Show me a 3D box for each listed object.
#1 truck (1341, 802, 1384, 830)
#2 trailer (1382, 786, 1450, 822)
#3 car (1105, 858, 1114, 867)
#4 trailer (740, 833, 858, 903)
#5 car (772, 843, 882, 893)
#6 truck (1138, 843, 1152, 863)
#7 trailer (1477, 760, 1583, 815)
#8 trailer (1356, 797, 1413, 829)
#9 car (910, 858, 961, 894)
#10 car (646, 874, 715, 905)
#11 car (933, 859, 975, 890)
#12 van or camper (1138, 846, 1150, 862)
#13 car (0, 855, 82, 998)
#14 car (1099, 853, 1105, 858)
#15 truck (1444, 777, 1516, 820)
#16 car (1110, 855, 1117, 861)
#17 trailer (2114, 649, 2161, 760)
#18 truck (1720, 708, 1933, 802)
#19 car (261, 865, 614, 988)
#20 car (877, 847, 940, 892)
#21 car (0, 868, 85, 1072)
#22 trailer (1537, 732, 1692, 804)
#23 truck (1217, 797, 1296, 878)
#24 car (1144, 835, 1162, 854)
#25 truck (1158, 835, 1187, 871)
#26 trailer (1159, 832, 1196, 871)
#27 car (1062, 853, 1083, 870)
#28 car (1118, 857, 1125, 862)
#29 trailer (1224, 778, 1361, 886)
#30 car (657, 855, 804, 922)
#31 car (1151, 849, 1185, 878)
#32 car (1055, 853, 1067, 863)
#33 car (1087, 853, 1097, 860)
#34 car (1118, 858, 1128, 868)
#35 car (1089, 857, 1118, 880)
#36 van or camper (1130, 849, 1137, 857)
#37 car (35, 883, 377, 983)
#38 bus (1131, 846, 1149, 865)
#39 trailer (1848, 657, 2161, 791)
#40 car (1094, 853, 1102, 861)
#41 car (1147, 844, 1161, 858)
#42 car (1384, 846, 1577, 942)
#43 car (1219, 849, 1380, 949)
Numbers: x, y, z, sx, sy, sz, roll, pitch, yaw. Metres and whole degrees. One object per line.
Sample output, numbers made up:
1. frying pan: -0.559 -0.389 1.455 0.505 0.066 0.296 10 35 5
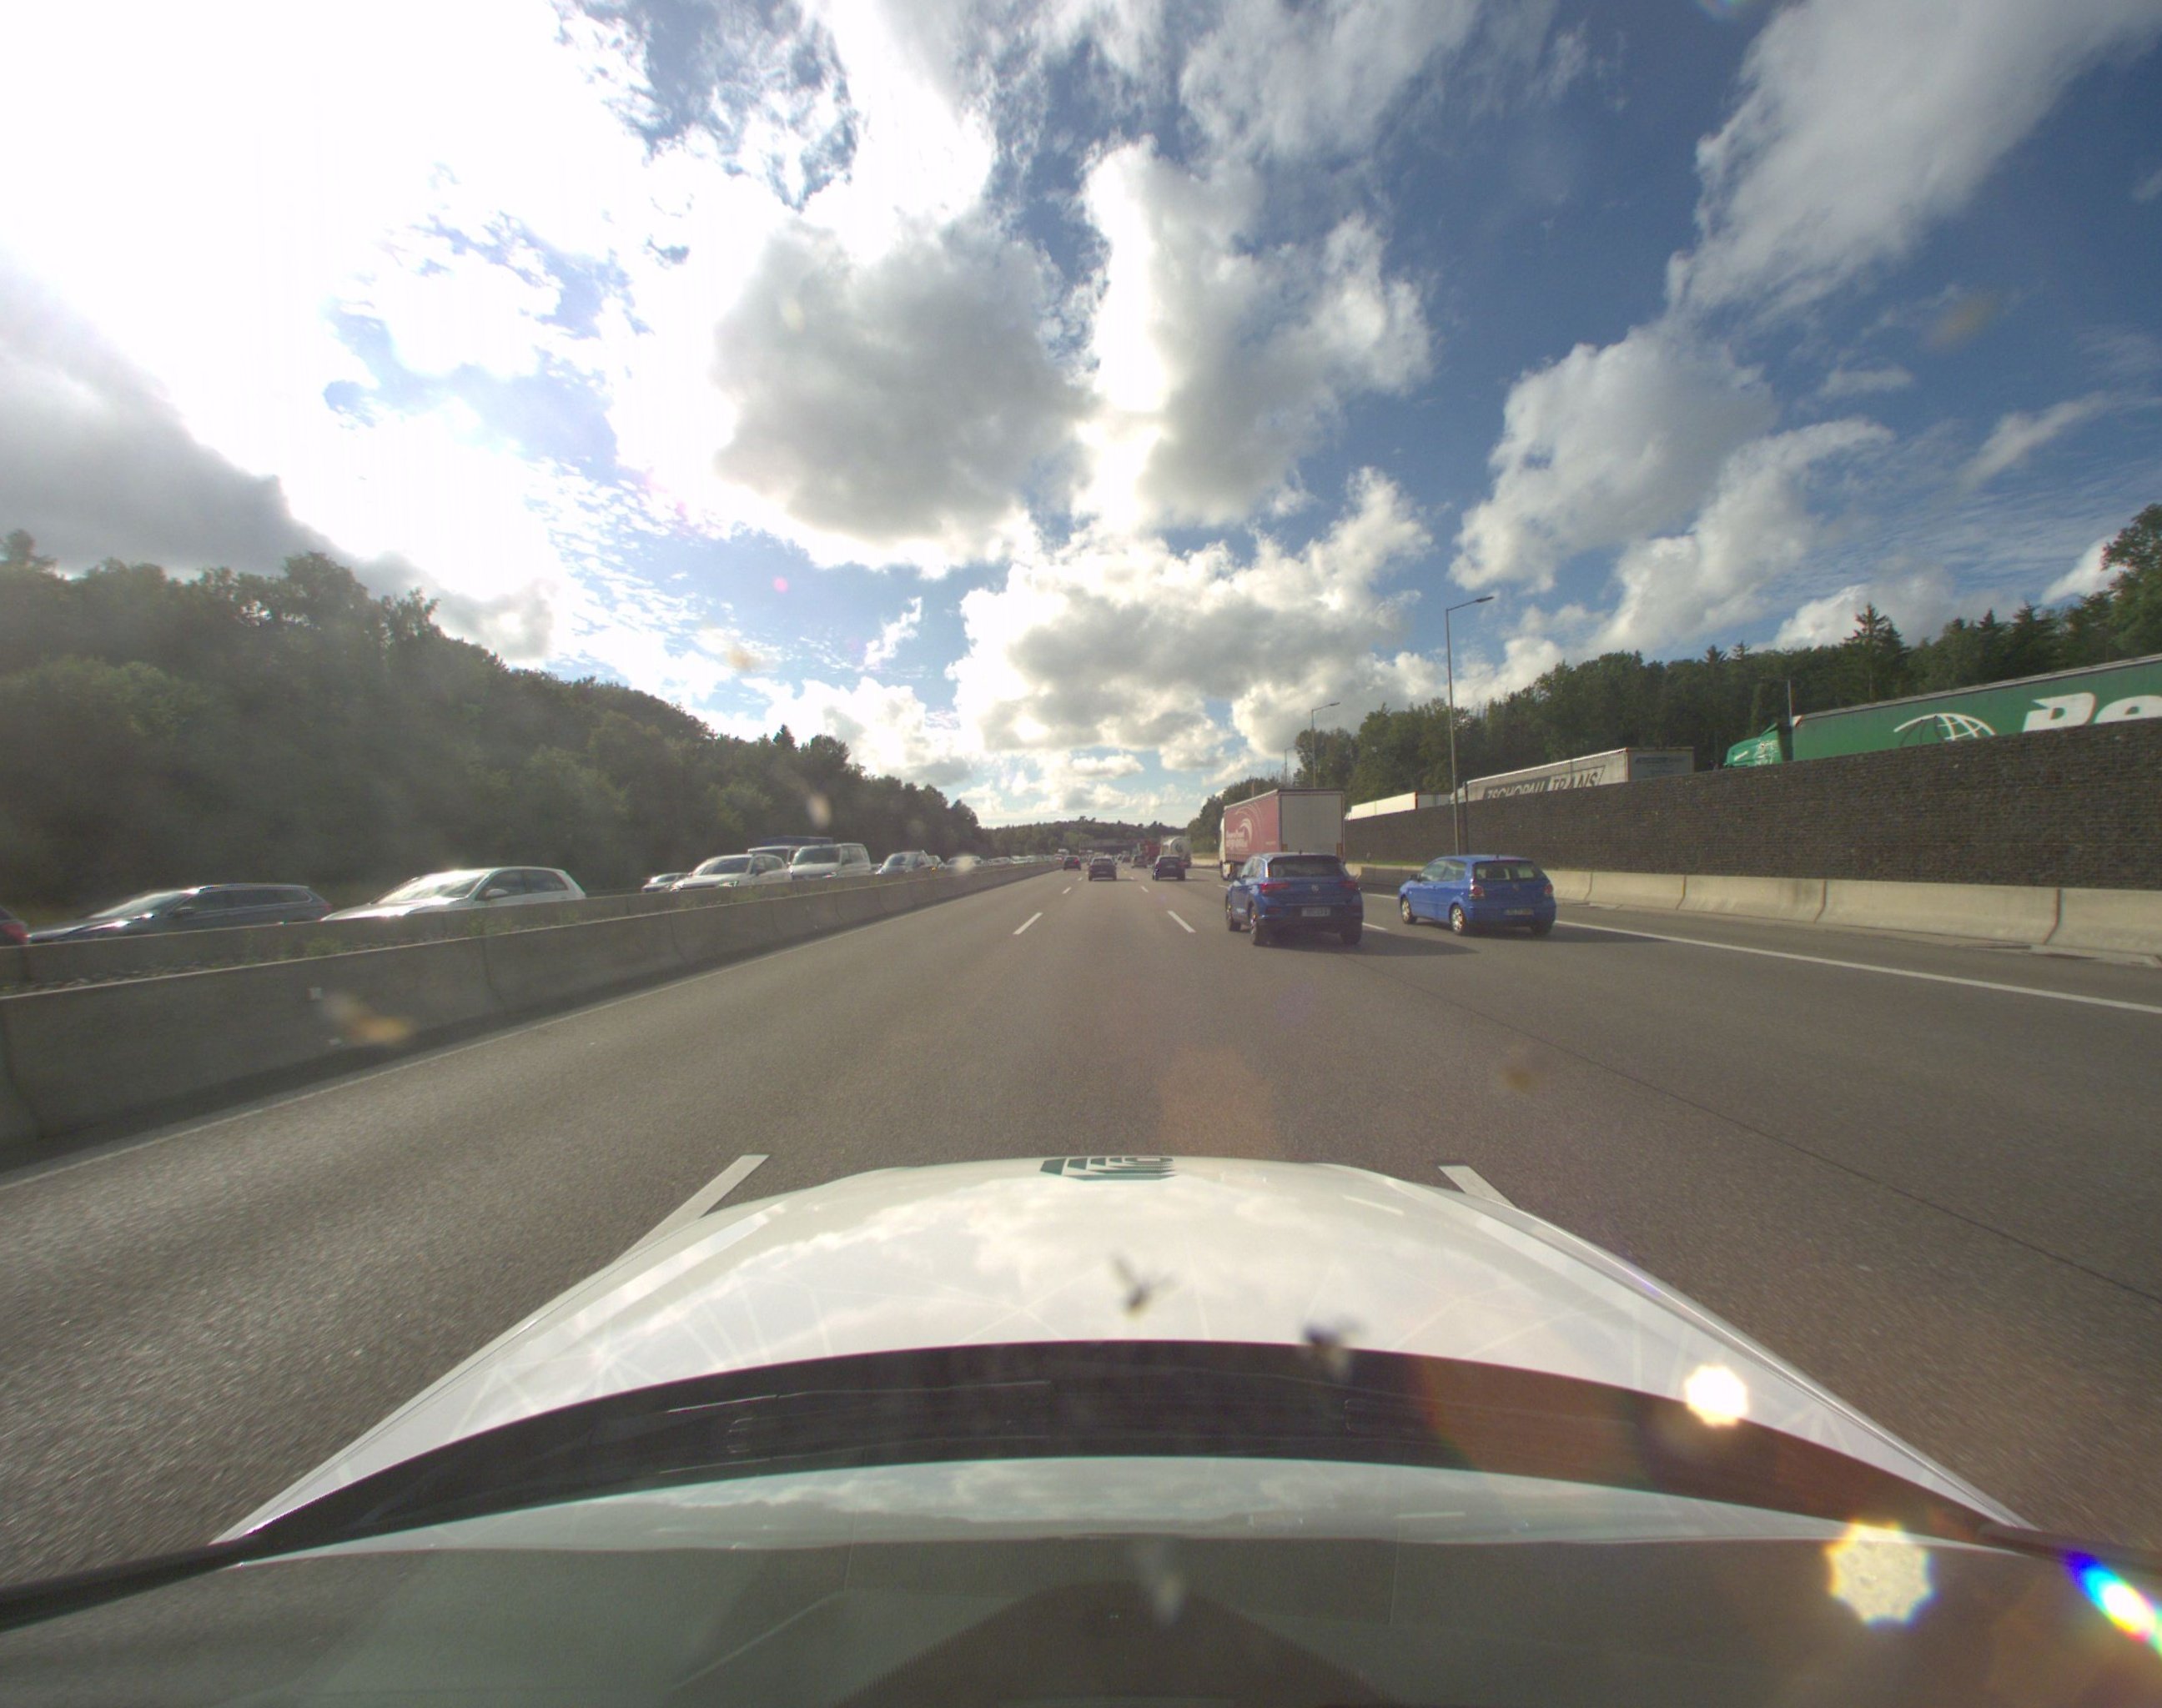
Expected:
1. truck: 23.100 -3.082 66.971 2.138 2.013 4.001 -2 0 2
2. trailer: 22.765 -3.330 55.642 2.122 2.013 6.324 -2 0 2
3. car: 6.720 2.064 193.698 1.986 2.014 4.001 -2 -2 2
4. trailer: -12.544 0.607 37.112 2.271 2.786 8.542 -1 -1 1
5. car: -8.876 0.452 29.054 1.985 1.572 5.333 1 0 3
6. truck: 12.429 -0.098 159.305 2.348 3.573 11.273 -1 -2 3
7. trailer: 22.065 -3.213 40.402 2.037 2.014 6.007 -1 -2 2
8. trailer: 22.938 -3.078 61.879 2.122 2.013 6.237 -2 0 2
9. car: -8.517 1.311 48.143 1.985 2.014 4.550 -1 -2 3
10. car: -22.962 2.013 46.852 1.802 1.572 4.075 0 0 3
11. car: -8.607 1.396 55.433 1.985 2.014 4.002 -1 -2 3
12. van or camper: 12.760 0.079 165.773 2.342 3.144 5.714 -1 -2 3
13. car: -13.023 0.805 7.570 1.985 1.572 4.360 0 0 3
14. car: 6.681 0.435 260.573 1.617 1.470 3.816 0 -1 2
15. truck: 22.172 -3.044 45.417 2.037 2.014 4.097 -1 -2 1
16. car: 8.629 0.985 216.510 1.669 1.592 3.630 -2 0 3
17. trailer: 21.495 -2.977 13.071 1.986 2.014 6.194 -1 -2 1
18. truck: 21.802 -2.802 24.161 2.037 2.014 4.783 -1 -2 3
19. car: -9.759 0.983 12.930 1.985 1.572 4.360 0 0 3
20. car: -8.320 0.786 39.701 1.986 2.014 4.677 -1 -2 1
21. car: -9.425 0.902 5.095 1.985 1.572 3.513 0 0 3
22. trailer: 21.877 -3.430 33.912 2.043 2.014 6.965 -1 -2 2
23. truck: 9.352 -0.755 44.164 3.069 4.064 6.071 -1 -2 2
24. car: 12.305 -1.577 140.085 2.855 2.992 5.152 -1 -2 3
25. truck: 11.211 -0.024 100.339 3.034 4.160 7.129 -1 -1 2
26. trailer: 11.012 -0.146 94.119 3.025 4.016 12.247 -1 -1 1
27. car: -0.895 0.776 89.275 1.986 1.776 4.002 -2 0 2
28. car: 12.972 1.669 259.733 1.986 1.618 4.001 -1 0 2
29. trailer: 9.142 -0.595 37.401 3.027 4.036 13.893 -1 -2 2
30. car: -8.974 0.809 21.278 1.758 1.572 4.360 0 0 3
31. car: 5.136 0.584 48.517 1.792 1.644 4.002 0 -1 2
32. car: -4.065 0.793 164.005 1.985 1.864 4.554 -1 -2 4
33. car: 2.570 0.601 192.516 2.146 1.776 4.002 0 -1 2
34. car: 8.678 1.865 167.070 1.986 2.014 4.001 0 -1 2
35. car: 1.415 0.922 50.785 1.727 1.365 4.002 0 -1 2
36. van or camper: 16.012 -0.319 248.223 2.076 2.493 4.226 -1 0 2
37. car: -16.995 1.448 16.235 1.985 1.572 4.360 0 0 3
38. bus: 6.975 0.200 95.943 1.986 2.014 4.001 -1 -2 2
39. trailer: 21.608 -2.799 19.010 1.986 2.014 5.775 -1 -2 1
40. car: 4.575 0.839 220.647 1.987 2.014 3.999 -1 0 -1
41. car: 11.629 -0.480 129.818 1.986 2.014 4.001 -1 -2 2
42. car: 7.469 0.652 15.759 1.709 1.511 4.304 -2 1 2
43. car: 3.799 0.708 15.021 1.916 1.541 4.648 -1 0 3
